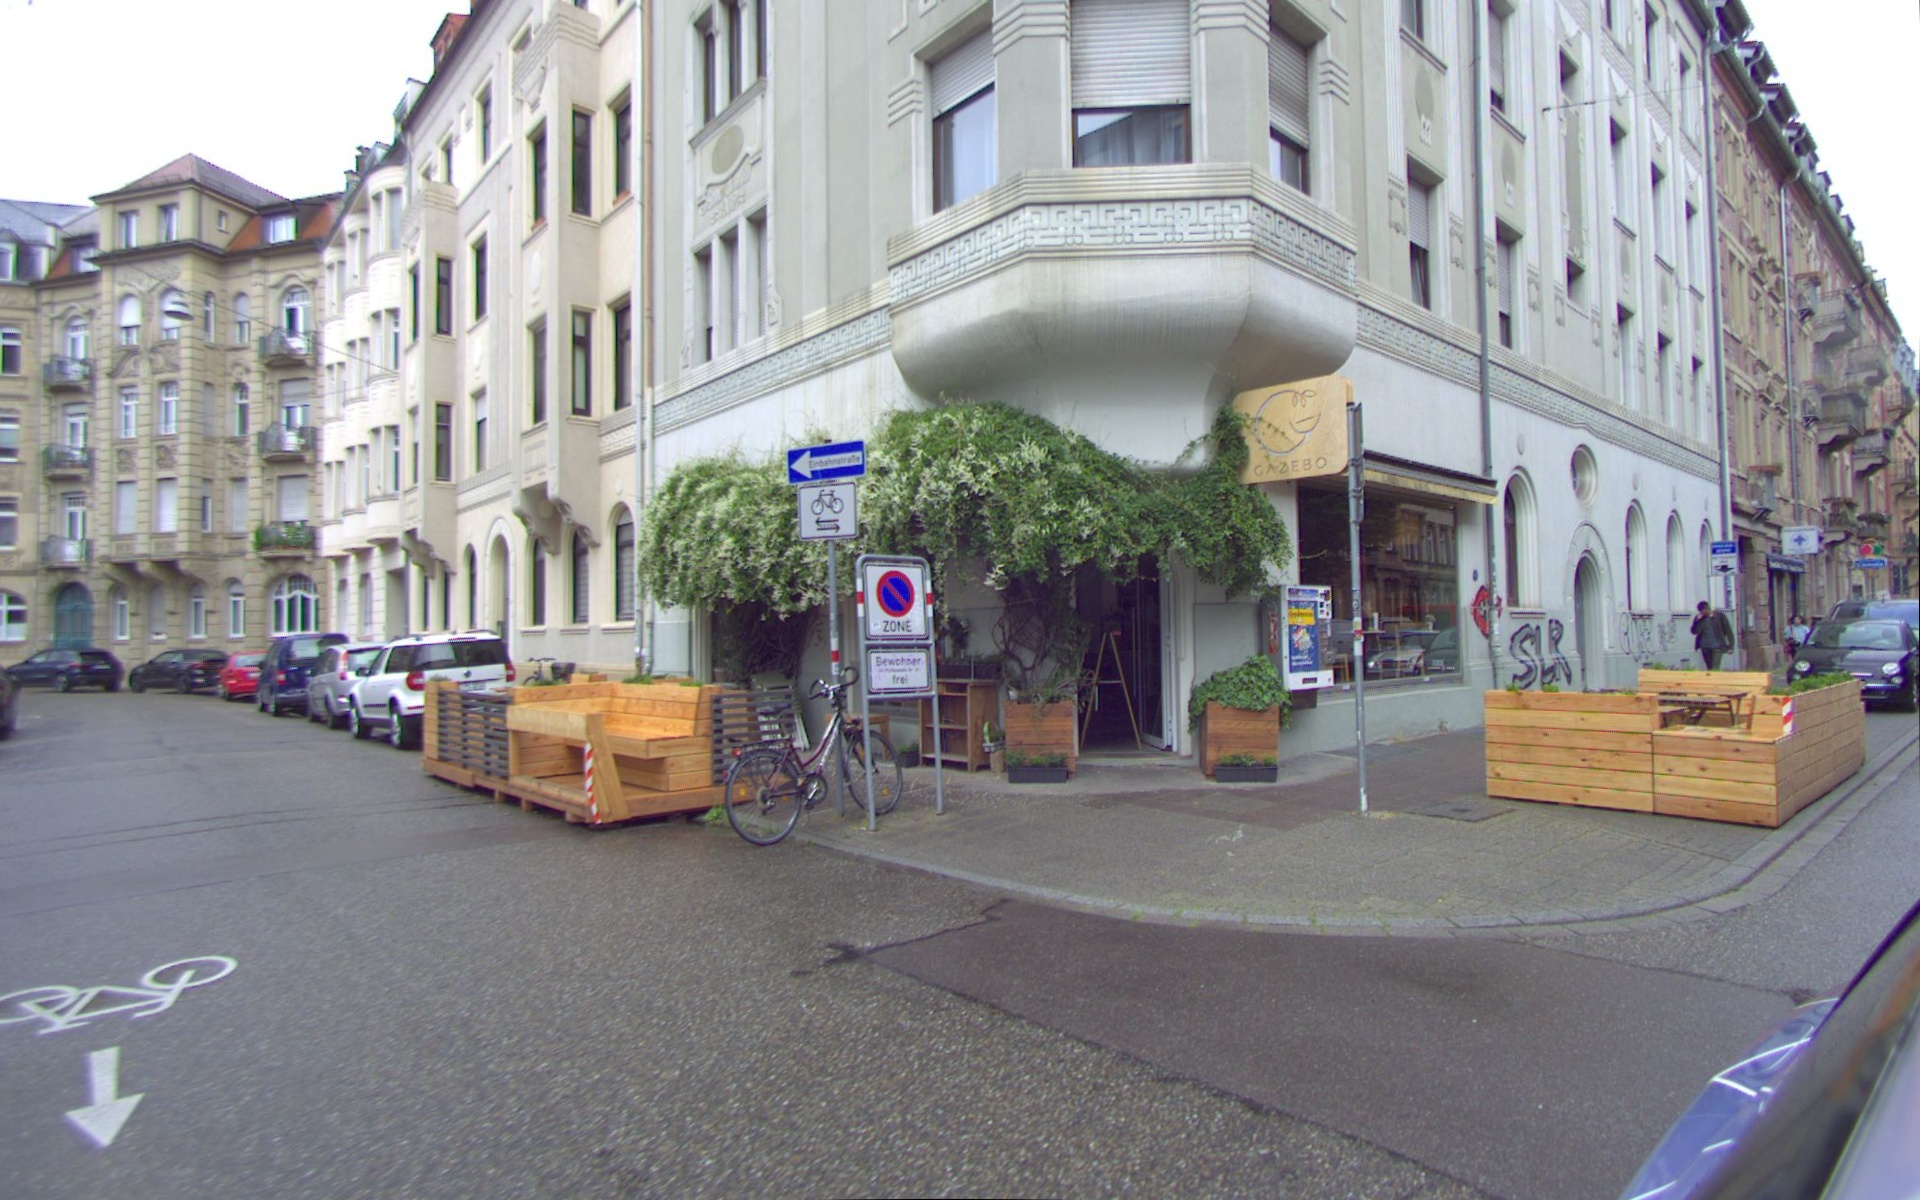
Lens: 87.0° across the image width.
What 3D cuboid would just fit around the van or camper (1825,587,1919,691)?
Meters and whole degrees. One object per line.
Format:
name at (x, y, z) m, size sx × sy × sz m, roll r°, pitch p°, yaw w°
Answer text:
van or camper at (19.292, 0.747, 20.540) m, size 4.968 × 1.915 × 2.024 m, roll 1°, pitch -1°, yaw -42°

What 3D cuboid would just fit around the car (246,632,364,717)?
car at (-15.773, 1.714, 24.289) m, size 1.783 × 1.801 × 3.845 m, roll -1°, pitch -1°, yaw -42°

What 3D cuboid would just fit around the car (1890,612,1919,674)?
car at (26.111, 1.090, 26.827) m, size 3.936 × 1.565 × 1.842 m, roll 0°, pitch -2°, yaw -43°

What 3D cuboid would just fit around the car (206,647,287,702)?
car at (-22.394, 2.283, 31.720) m, size 1.685 × 1.576 × 3.847 m, roll 2°, pitch -3°, yaw -41°

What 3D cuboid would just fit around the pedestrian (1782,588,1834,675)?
pedestrian at (20.143, 0.744, 24.041) m, size 0.408 × 2.039 × 0.826 m, roll -1°, pitch -1°, yaw -41°

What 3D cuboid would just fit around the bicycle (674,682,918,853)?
bicycle at (-1.217, 1.231, 7.845) m, size 1.888 × 0.991 × 0.452 m, roll -3°, pitch 0°, yaw -43°

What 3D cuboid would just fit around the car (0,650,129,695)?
car at (-32.889, 2.620, 37.084) m, size 4.083 × 1.576 × 1.706 m, roll -1°, pitch -3°, yaw 15°

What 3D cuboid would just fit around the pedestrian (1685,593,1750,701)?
pedestrian at (14.138, 0.869, 18.901) m, size 0.408 × 1.976 × 0.826 m, roll -1°, pitch -1°, yaw -41°

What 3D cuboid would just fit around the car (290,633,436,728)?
car at (-12.207, 1.555, 20.584) m, size 1.784 × 1.609 × 3.845 m, roll -3°, pitch 0°, yaw -42°

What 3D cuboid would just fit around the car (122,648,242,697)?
car at (-26.981, 2.476, 35.092) m, size 4.205 × 1.576 × 1.697 m, roll -1°, pitch -3°, yaw 28°

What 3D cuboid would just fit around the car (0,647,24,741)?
car at (-18.241, 1.658, 18.320) m, size 1.685 × 1.576 × 3.968 m, roll 2°, pitch -3°, yaw -41°

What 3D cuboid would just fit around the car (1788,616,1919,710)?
car at (15.377, 0.981, 17.044) m, size 3.641 × 1.418 × 1.712 m, roll 1°, pitch -1°, yaw -43°

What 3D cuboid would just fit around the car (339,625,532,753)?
car at (-8.644, 1.350, 16.534) m, size 1.785 × 1.720 × 3.844 m, roll -3°, pitch 0°, yaw -43°
